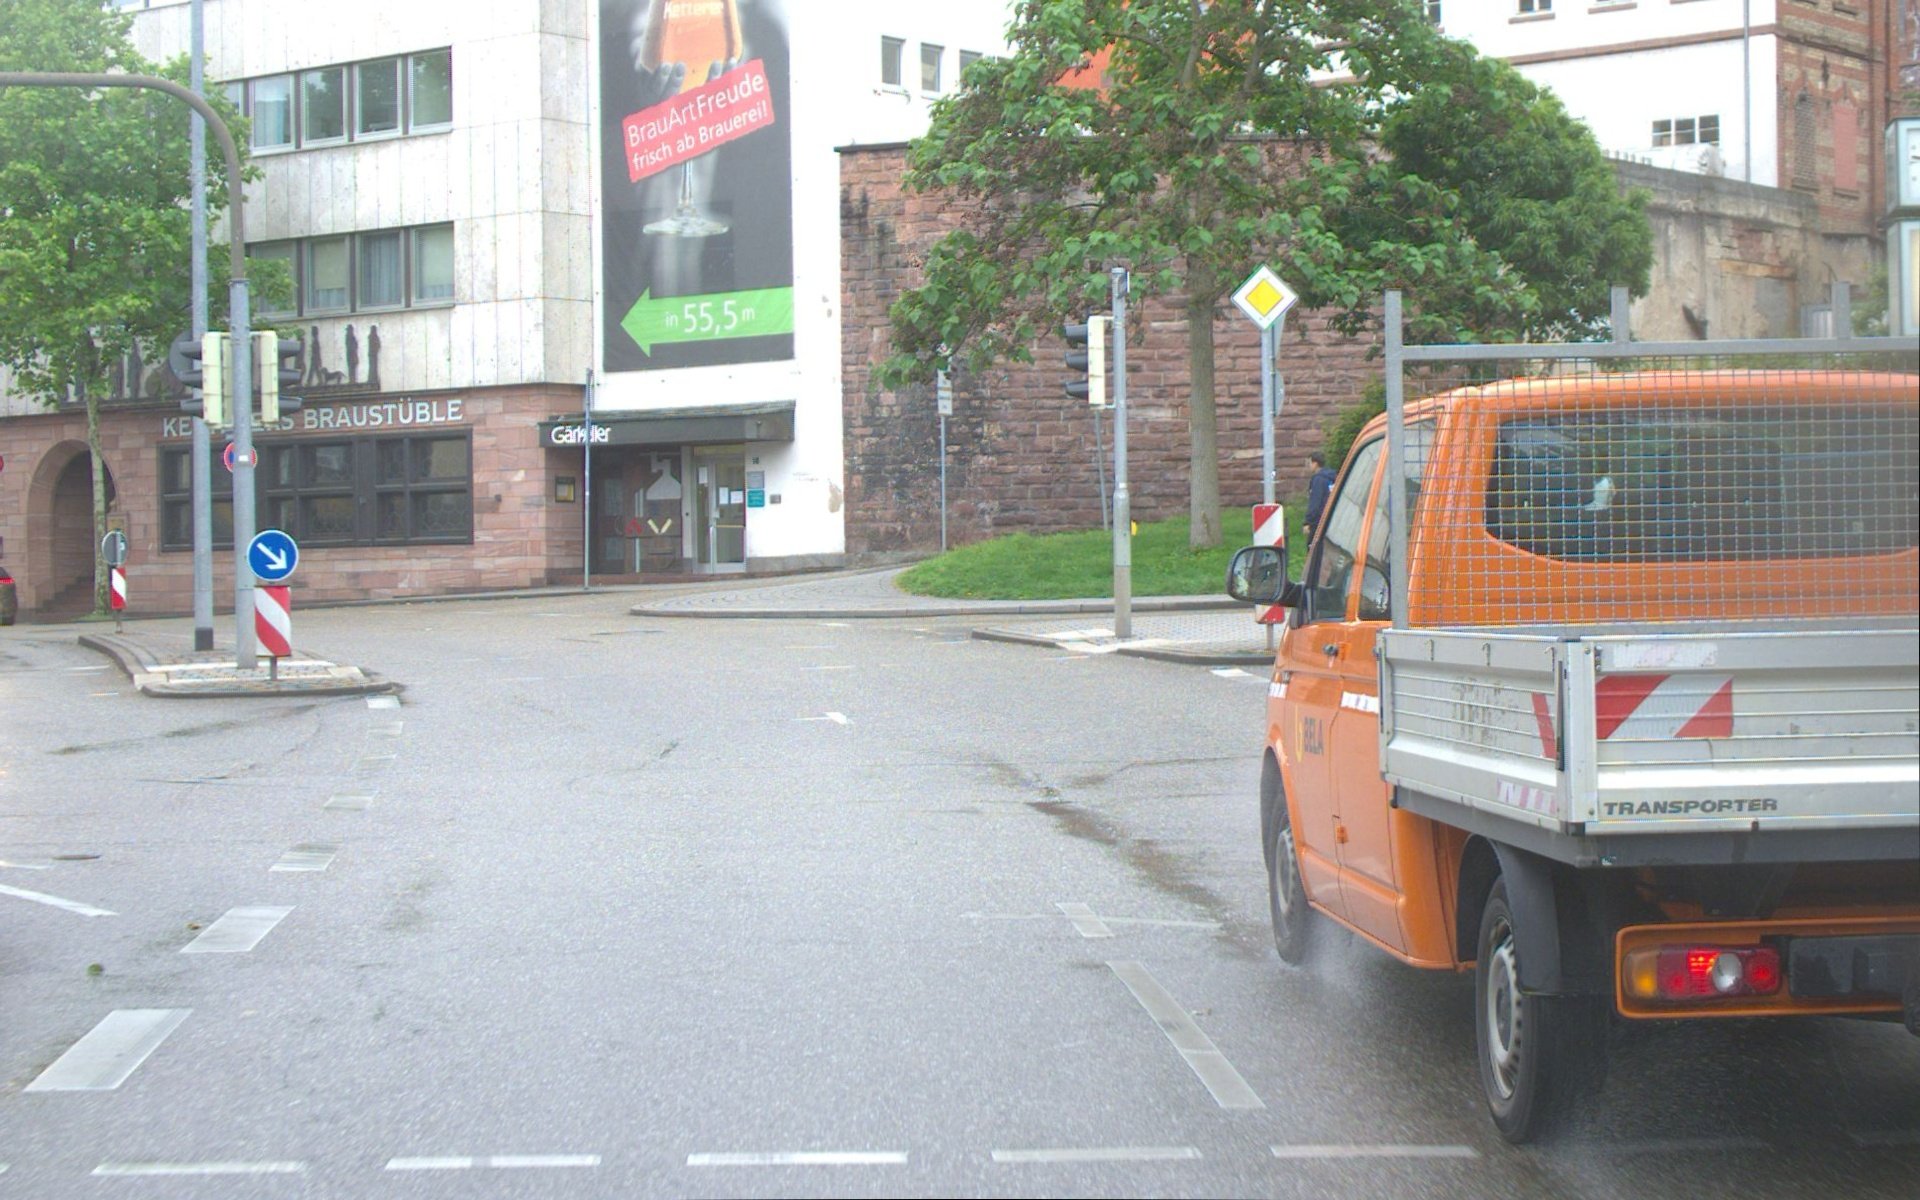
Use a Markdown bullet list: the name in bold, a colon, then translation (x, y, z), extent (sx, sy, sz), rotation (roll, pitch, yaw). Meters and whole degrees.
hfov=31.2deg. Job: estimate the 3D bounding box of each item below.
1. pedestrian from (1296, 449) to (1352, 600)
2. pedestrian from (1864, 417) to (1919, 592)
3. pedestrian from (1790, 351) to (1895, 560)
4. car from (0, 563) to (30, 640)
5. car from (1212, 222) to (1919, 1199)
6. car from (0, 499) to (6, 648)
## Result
- **pedestrian**: translation (4.364, -0.896, 41.154), extent (0.597, 1.775, 0.656), rotation (1, -1, 9)
- **pedestrian**: translation (9.373, -0.950, 34.044), extent (0.556, 1.700, 0.529), rotation (-3, 2, -21)
- **pedestrian**: translation (8.672, -1.416, 33.768), extent (0.786, 2.006, 0.587), rotation (-1, 3, 35)
- **car**: translation (-19.150, 0.030, 64.660), extent (1.790, 1.398, 4.633), rotation (-1, 0, -34)
- **car**: translation (2.095, 0.274, 9.766), extent (2.101, 2.082, 5.542), rotation (0, 0, -3)
- **car**: translation (-12.022, -0.295, 38.871), extent (1.755, 1.609, 4.212), rotation (-2, 2, -24)
